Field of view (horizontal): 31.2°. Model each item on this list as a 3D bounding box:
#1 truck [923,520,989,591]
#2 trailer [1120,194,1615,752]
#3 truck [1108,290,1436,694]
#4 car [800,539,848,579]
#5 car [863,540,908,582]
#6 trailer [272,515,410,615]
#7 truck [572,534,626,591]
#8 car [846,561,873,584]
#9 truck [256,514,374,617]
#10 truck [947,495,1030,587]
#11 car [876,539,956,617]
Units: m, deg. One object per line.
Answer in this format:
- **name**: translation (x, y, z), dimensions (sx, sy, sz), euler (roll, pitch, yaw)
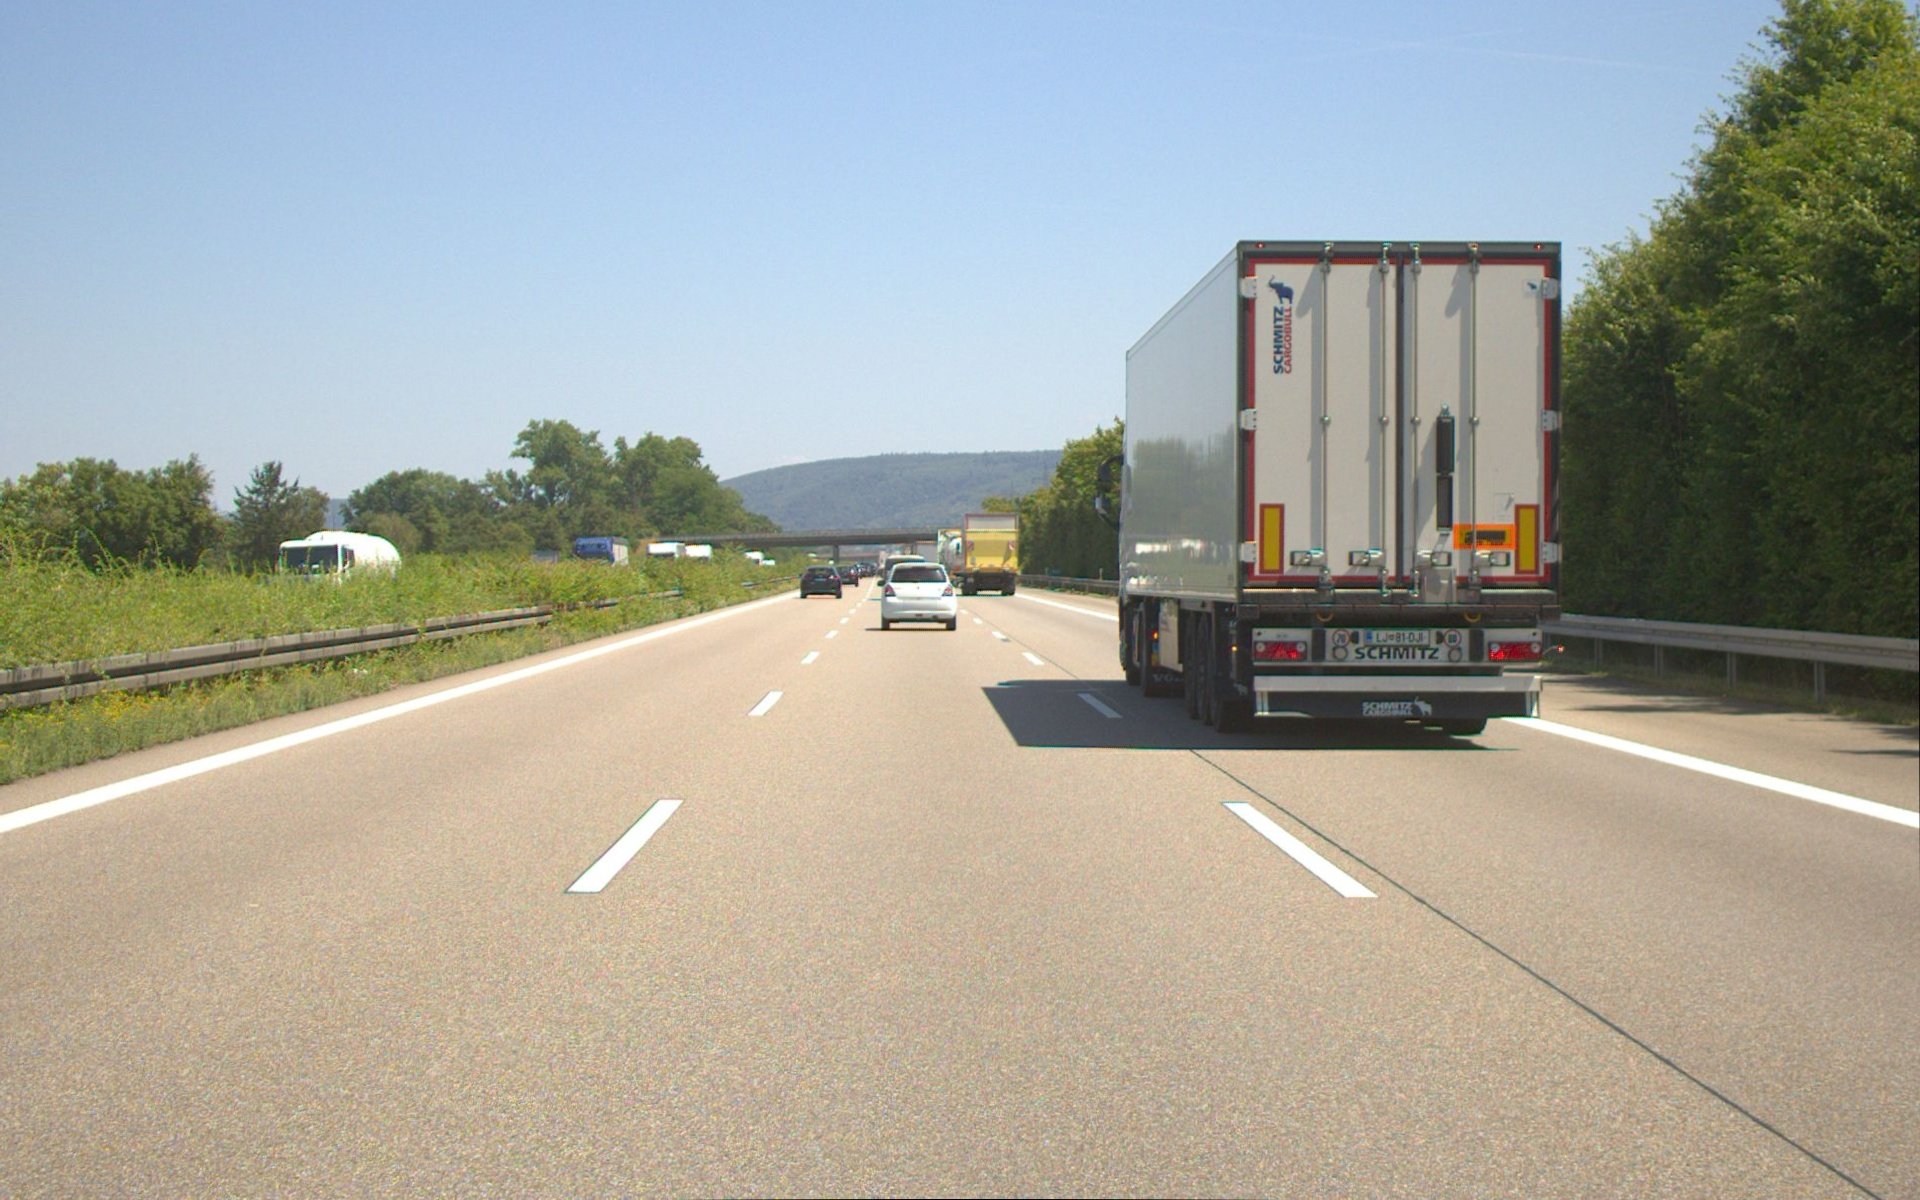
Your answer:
- **truck**: translation (-0.321, -2.987, 231.343), dimensions (4.271, 4.636, 13.861), euler (0, 1, -1)
- **trailer**: translation (3.510, -1.111, 33.799), dimensions (3.218, 4.330, 13.629), euler (1, 1, 0)
- **truck**: translation (3.528, -1.228, 40.568), dimensions (3.218, 4.330, 6.591), euler (1, 1, 0)
- **car**: translation (-5.962, -1.818, 150.871), dimensions (1.993, 1.706, 4.000), euler (1, 1, -1)
- **car**: translation (-3.089, -1.622, 142.708), dimensions (1.786, 1.706, 4.000), euler (1, 1, -1)
- **trailer**: translation (-22.816, -1.296, 127.388), dimensions (3.227, 3.504, 11.771), euler (-1, 1, -1)
- **truck**: translation (-24.609, -2.556, 234.425), dimensions (3.133, 3.819, 5.834), euler (-1, 1, -1)
- **car**: translation (-6.815, -1.851, 233.325), dimensions (1.795, 1.545, 4.000), euler (0, 1, -1)
- **truck**: translation (-22.675, -1.217, 121.122), dimensions (3.227, 3.504, 5.435), euler (-1, 1, -1)
- **truck**: translation (1.332, -2.945, 171.684), dimensions (3.871, 4.330, 13.861), euler (1, 1, -1)
- **car**: translation (-1.007, -0.523, 77.887), dimensions (1.732, 1.678, 4.000), euler (-1, 1, -1)
